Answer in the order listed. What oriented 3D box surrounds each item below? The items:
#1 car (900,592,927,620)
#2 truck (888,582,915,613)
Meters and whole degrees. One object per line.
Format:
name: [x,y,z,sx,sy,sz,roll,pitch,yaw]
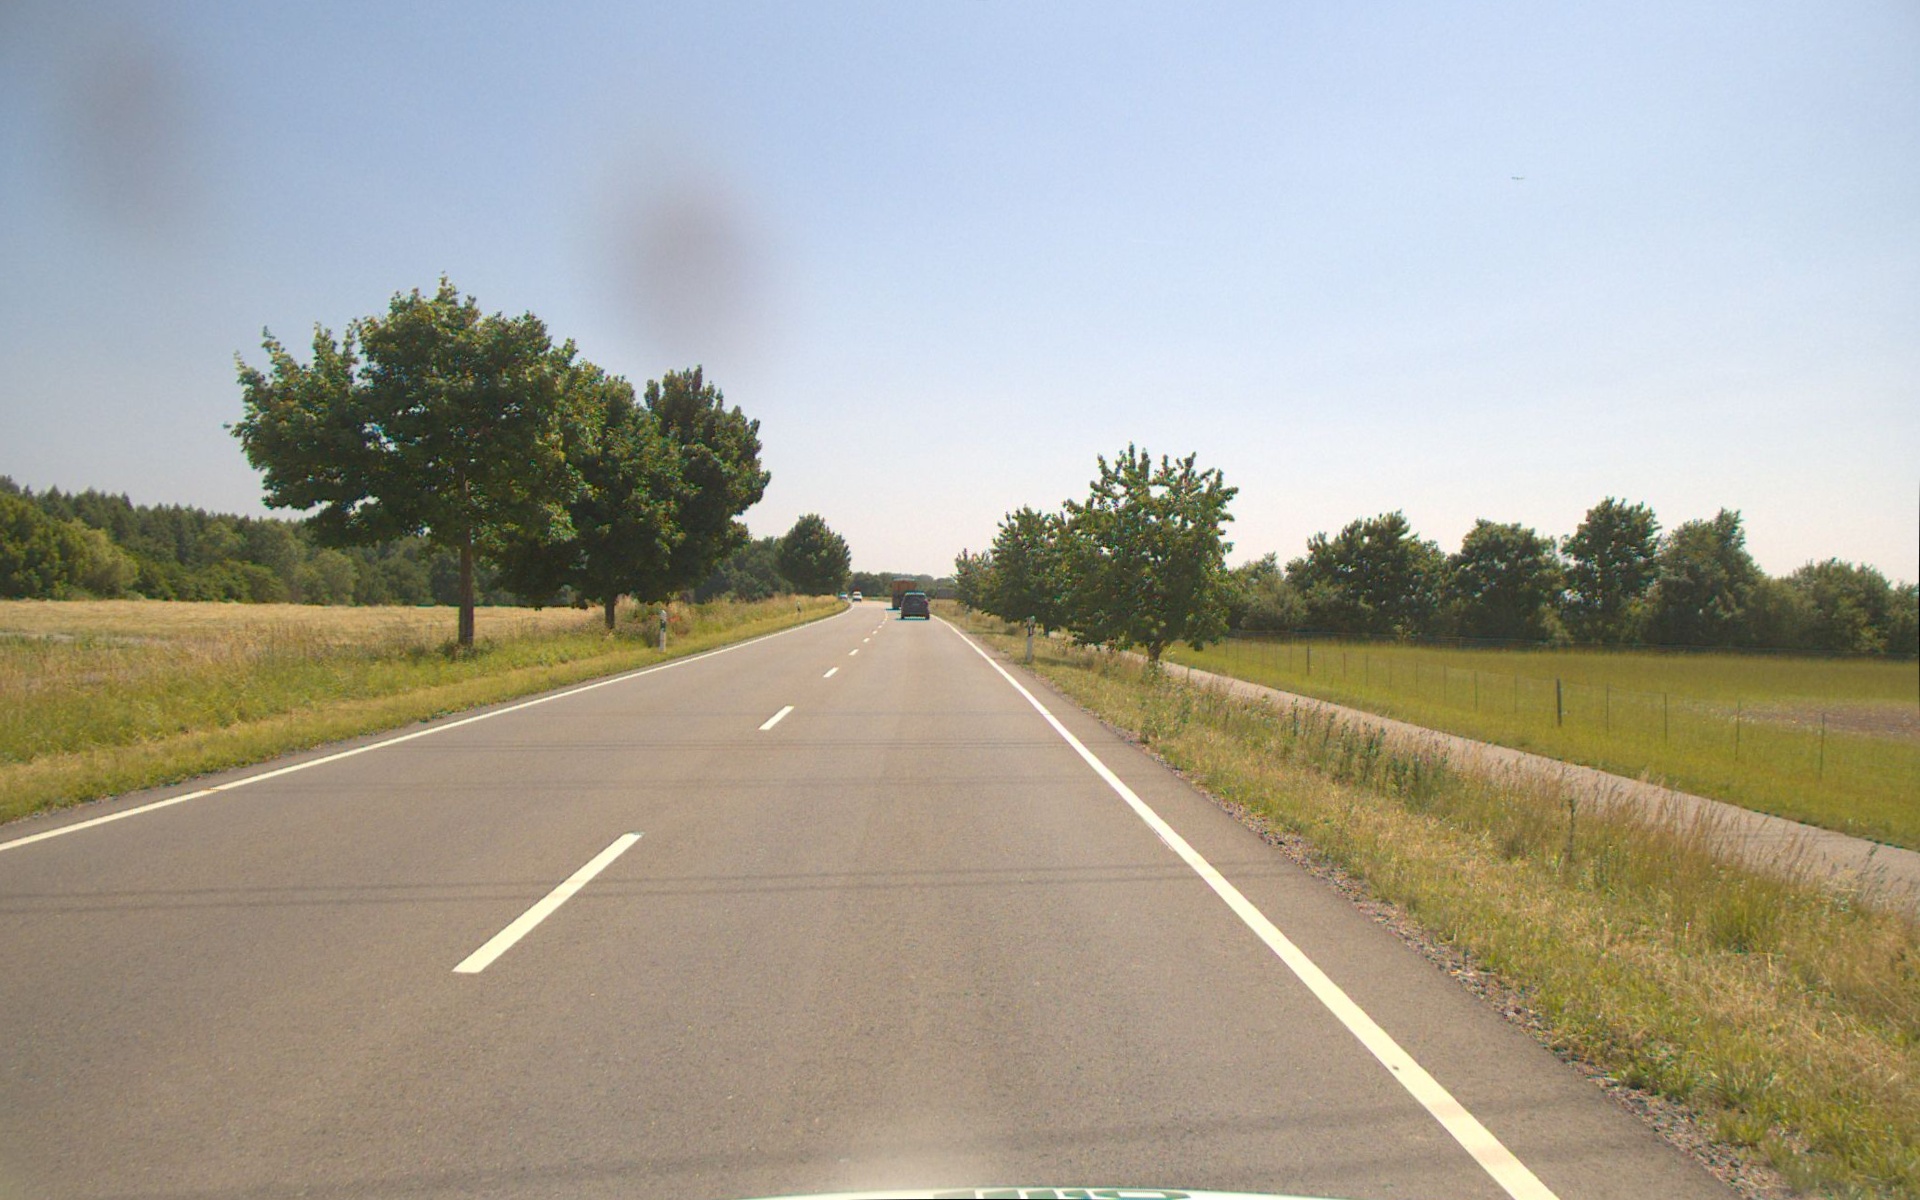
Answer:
car: [-3.001,0.394,106.441,1.680,1.723,3.987,1,0,-1]
truck: [-6.190,-0.248,173.645,2.324,3.195,8.737,1,0,-5]
